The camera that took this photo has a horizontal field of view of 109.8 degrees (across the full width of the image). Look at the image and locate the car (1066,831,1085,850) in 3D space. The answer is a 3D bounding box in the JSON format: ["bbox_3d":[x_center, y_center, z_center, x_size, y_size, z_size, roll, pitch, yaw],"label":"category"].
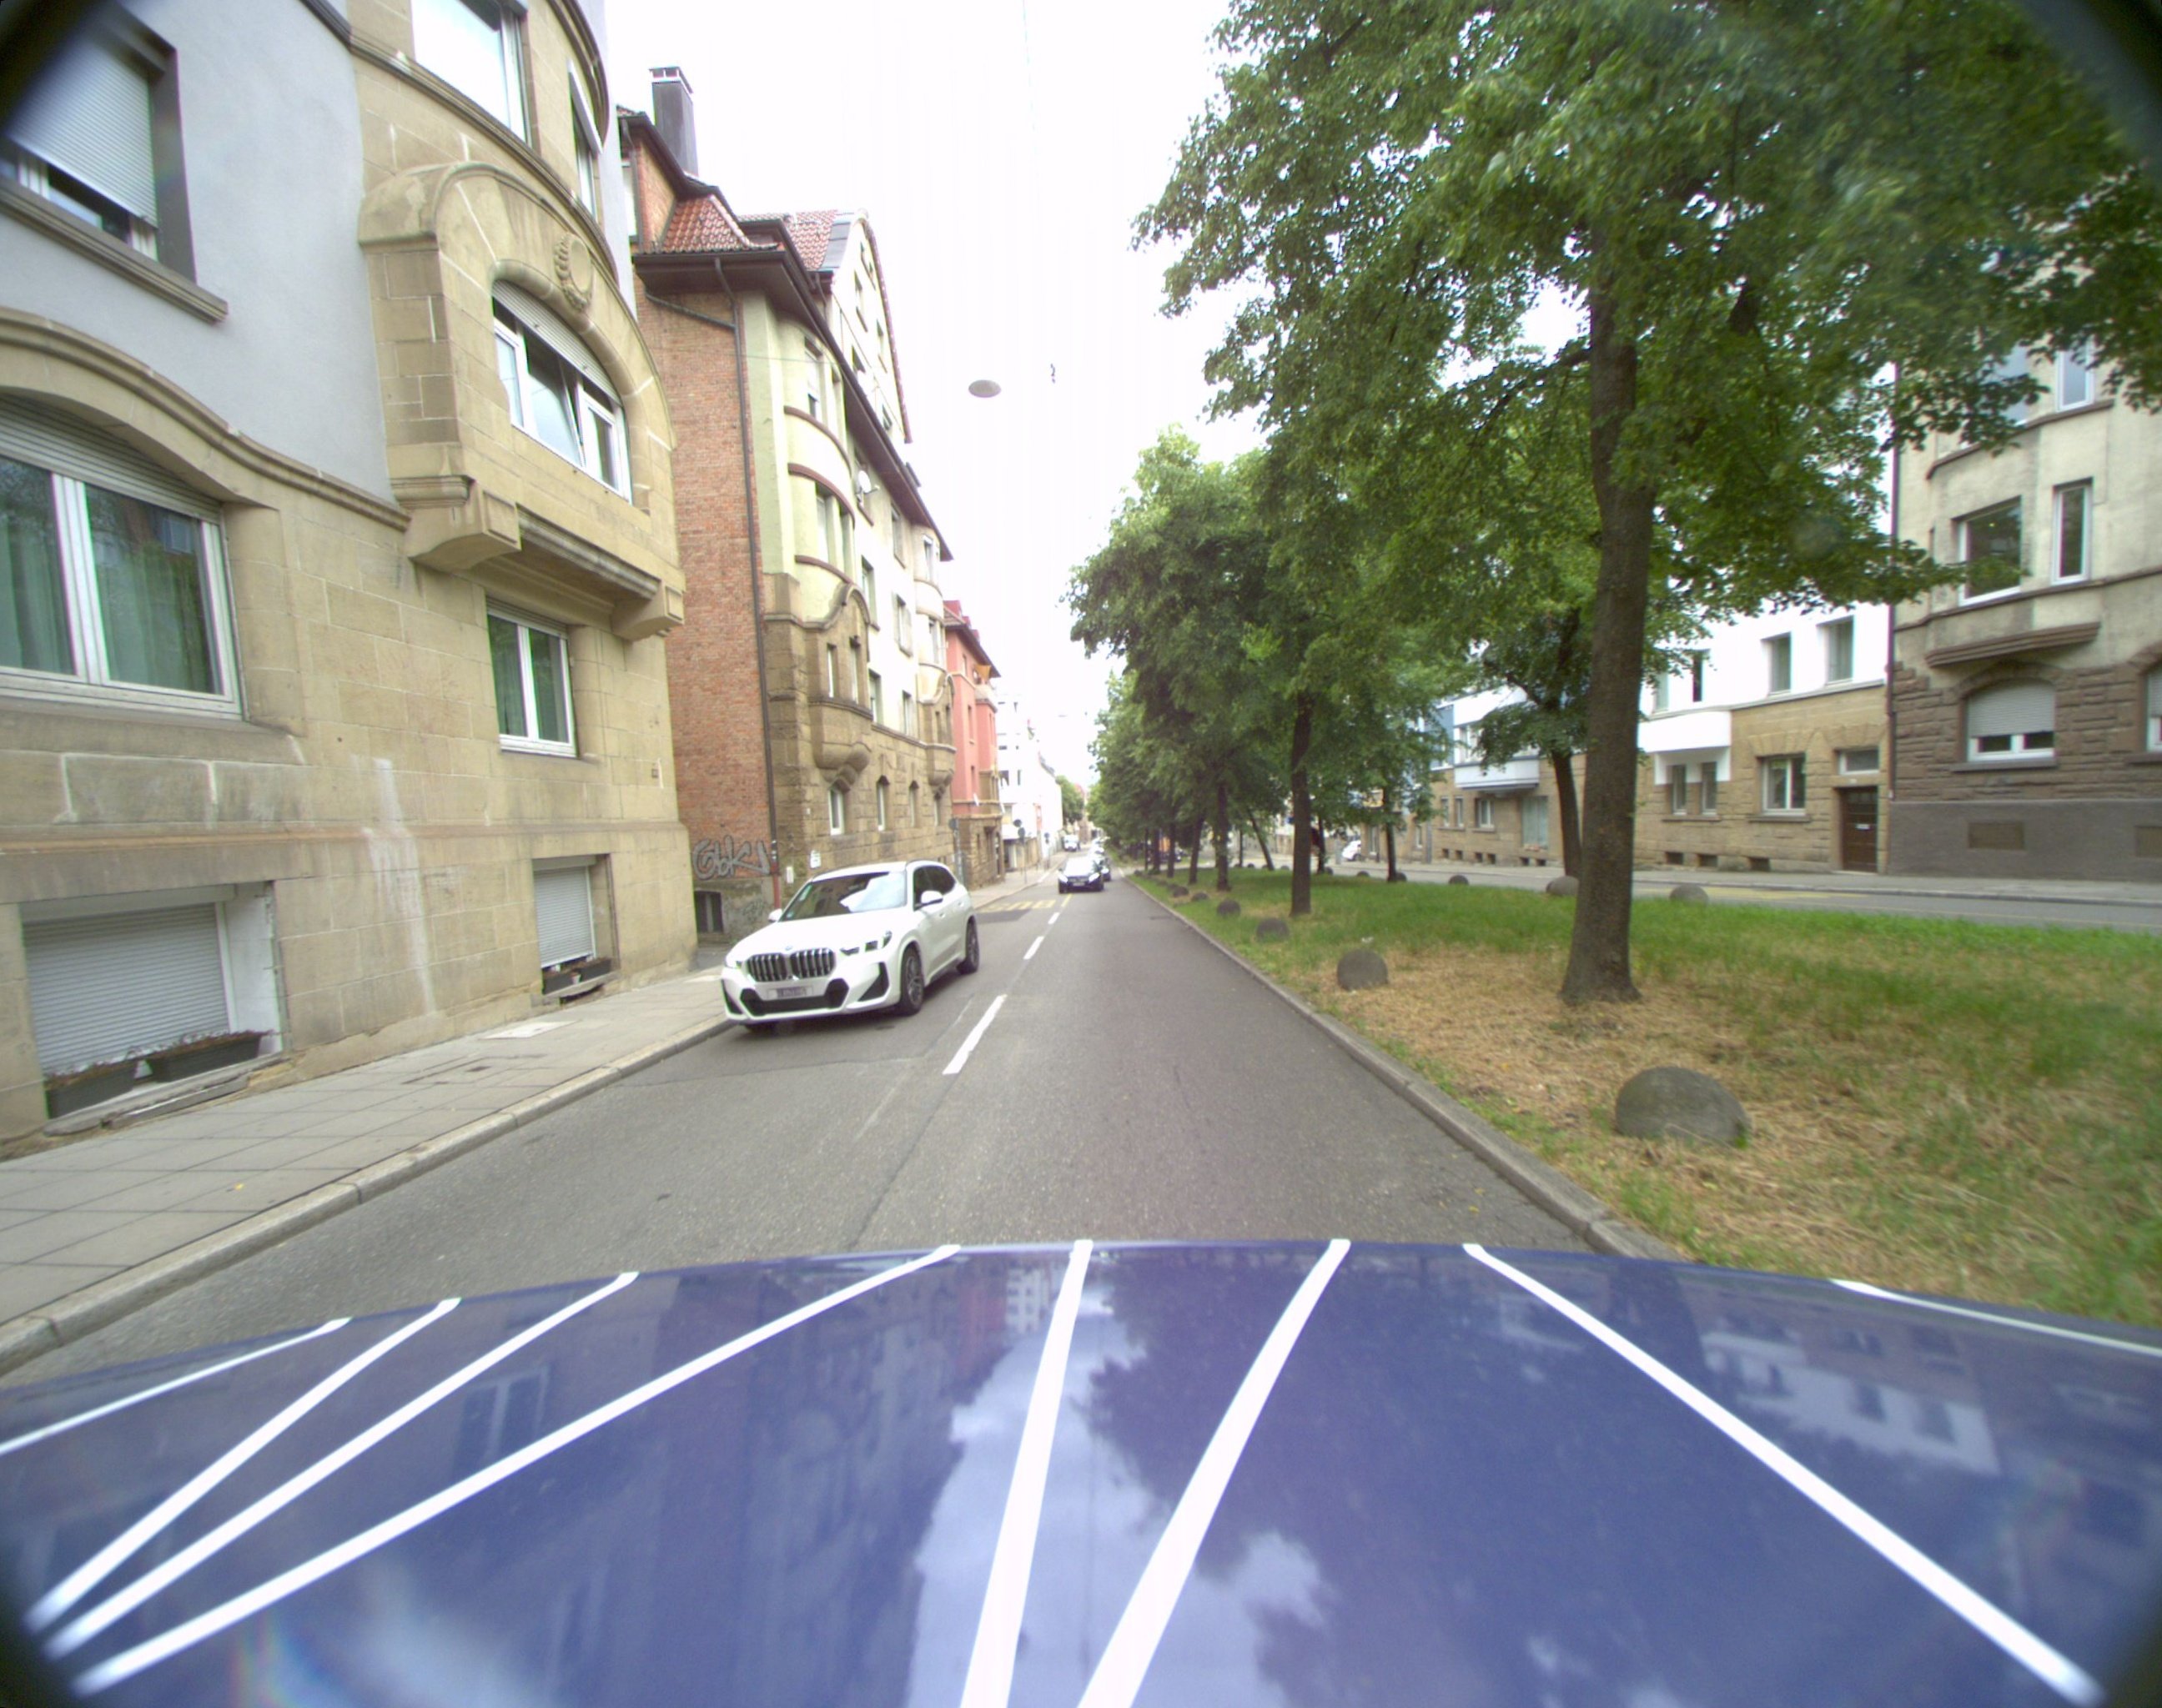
[{"bbox_3d":[-0.936,-2.468,132.918,3.026,3.045,7.165,-2,2,0],"label":"car"}]

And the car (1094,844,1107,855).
[{"bbox_3d":[2.713,-0.645,106.861,1.783,1.420,4.281,-1,0,2],"label":"car"}]

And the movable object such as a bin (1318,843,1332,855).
[{"bbox_3d":[20.905,-0.415,65.106,0.888,0.988,0.668,-5,2,0],"label":"movable object such as a bin"}]

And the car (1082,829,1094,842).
[{"bbox_3d":[1.865,-4.954,200.594,3.026,3.045,7.165,-2,2,0],"label":"car"}]

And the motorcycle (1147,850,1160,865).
[{"bbox_3d":[6.361,0.308,66.637,0.888,1.090,2.481,-3,3,8],"label":"motorcycle"}]

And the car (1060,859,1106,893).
[{"bbox_3d":[0.166,0.932,34.200,1.854,1.361,4.282,-2,0,3],"label":"car"}]

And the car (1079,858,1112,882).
[{"bbox_3d":[0.950,0.945,46.996,1.854,1.361,4.282,-2,0,3],"label":"car"}]

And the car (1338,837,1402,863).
[{"bbox_3d":[21.878,-0.309,57.681,4.007,1.462,1.870,-7,3,-1],"label":"car"}]

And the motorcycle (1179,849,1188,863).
[{"bbox_3d":[8.996,0.186,66.703,0.750,1.068,1.851,-3,3,8],"label":"motorcycle"}]

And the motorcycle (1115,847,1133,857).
[{"bbox_3d":[5.281,-0.265,93.110,2.040,1.126,0.454,-3,4,2],"label":"motorcycle"}]

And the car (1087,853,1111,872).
[{"bbox_3d":[1.429,0.631,60.320,1.783,1.420,4.281,-1,0,2],"label":"car"}]

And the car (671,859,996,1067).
[{"bbox_3d":[-2.530,1.021,9.193,1.853,1.595,4.564,-8,0,6],"label":"car"}]
